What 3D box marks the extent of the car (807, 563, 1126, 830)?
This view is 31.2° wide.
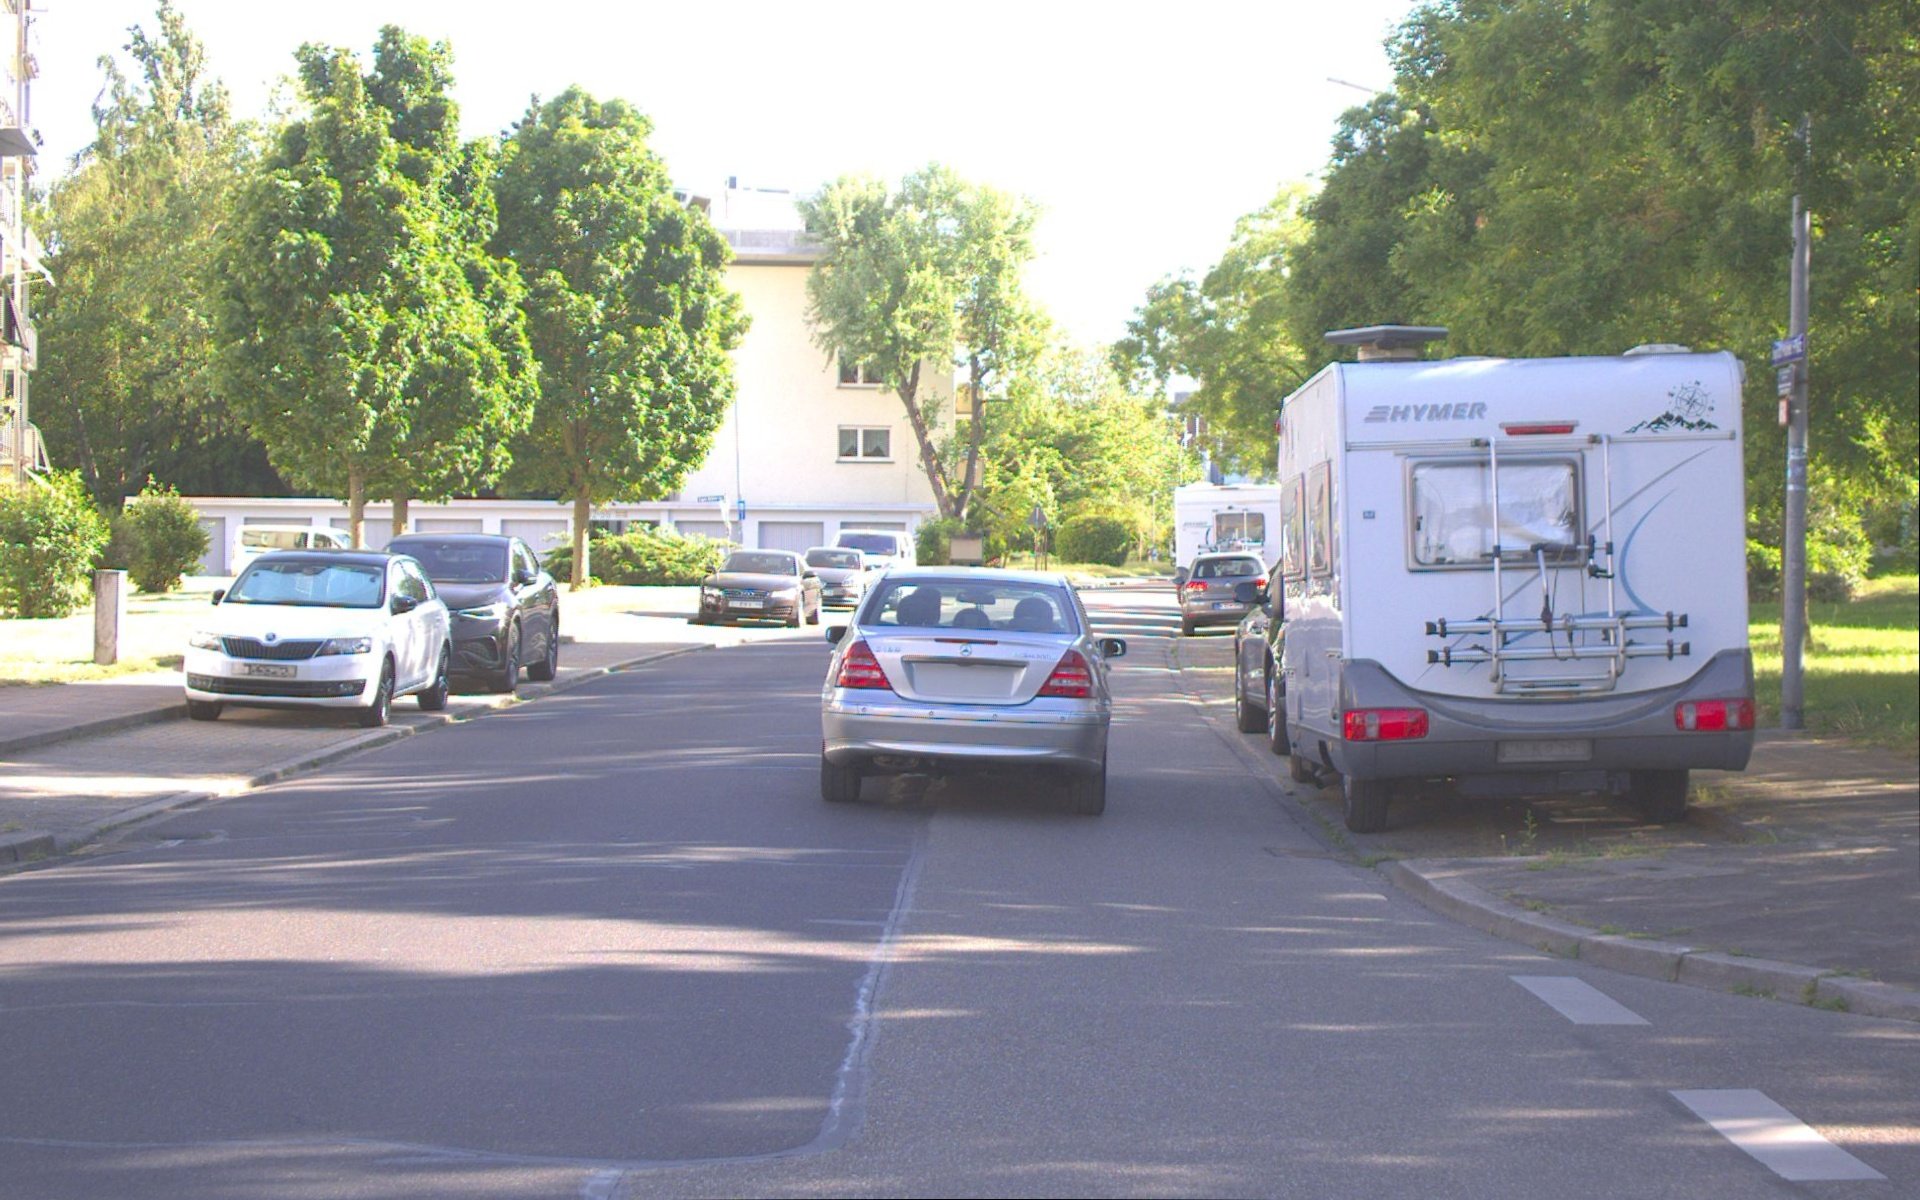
[{"bbox_3d":[0.078,0.534,20.924,1.733,1.429,3.438,2,0,1],"label":"car"}]

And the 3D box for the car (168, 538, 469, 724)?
[{"bbox_3d":[-5.514,0.214,30.053,1.646,1.461,4.330,1,1,2],"label":"car"}]

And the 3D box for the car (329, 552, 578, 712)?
[{"bbox_3d":[-5.332,0.289,36.754,1.914,1.598,4.812,0,1,0],"label":"car"}]

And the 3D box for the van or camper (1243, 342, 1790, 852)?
[{"bbox_3d":[3.192,-0.073,21.304,2.351,2.587,6.426,-2,1,1],"label":"van or camper"}]

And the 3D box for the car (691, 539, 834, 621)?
[{"bbox_3d":[-3.714,-0.415,65.500,2.035,1.487,5.255,0,1,4],"label":"car"}]

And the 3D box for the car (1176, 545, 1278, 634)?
[{"bbox_3d":[4.954,-0.230,64.279,1.720,1.519,4.428,-2,1,3],"label":"car"}]

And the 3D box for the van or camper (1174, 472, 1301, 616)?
[{"bbox_3d":[5.699,-1.174,71.341,2.497,2.835,6.851,0,1,4],"label":"van or camper"}]

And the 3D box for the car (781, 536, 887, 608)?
[{"bbox_3d":[-2.832,-0.640,78.182,1.833,1.513,4.221,2,1,5],"label":"car"}]

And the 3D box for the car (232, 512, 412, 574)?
[{"bbox_3d":[-20.149,-1.805,108.654,5.108,1.944,2.236,0,1,12],"label":"car"}]

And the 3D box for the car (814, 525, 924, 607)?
[{"bbox_3d":[-2.198,-0.836,84.755,2.015,1.879,5.190,2,1,5],"label":"car"}]

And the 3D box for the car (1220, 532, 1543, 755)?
[{"bbox_3d":[3.339,0.287,28.103,1.993,1.635,4.537,-1,1,-1],"label":"car"}]
